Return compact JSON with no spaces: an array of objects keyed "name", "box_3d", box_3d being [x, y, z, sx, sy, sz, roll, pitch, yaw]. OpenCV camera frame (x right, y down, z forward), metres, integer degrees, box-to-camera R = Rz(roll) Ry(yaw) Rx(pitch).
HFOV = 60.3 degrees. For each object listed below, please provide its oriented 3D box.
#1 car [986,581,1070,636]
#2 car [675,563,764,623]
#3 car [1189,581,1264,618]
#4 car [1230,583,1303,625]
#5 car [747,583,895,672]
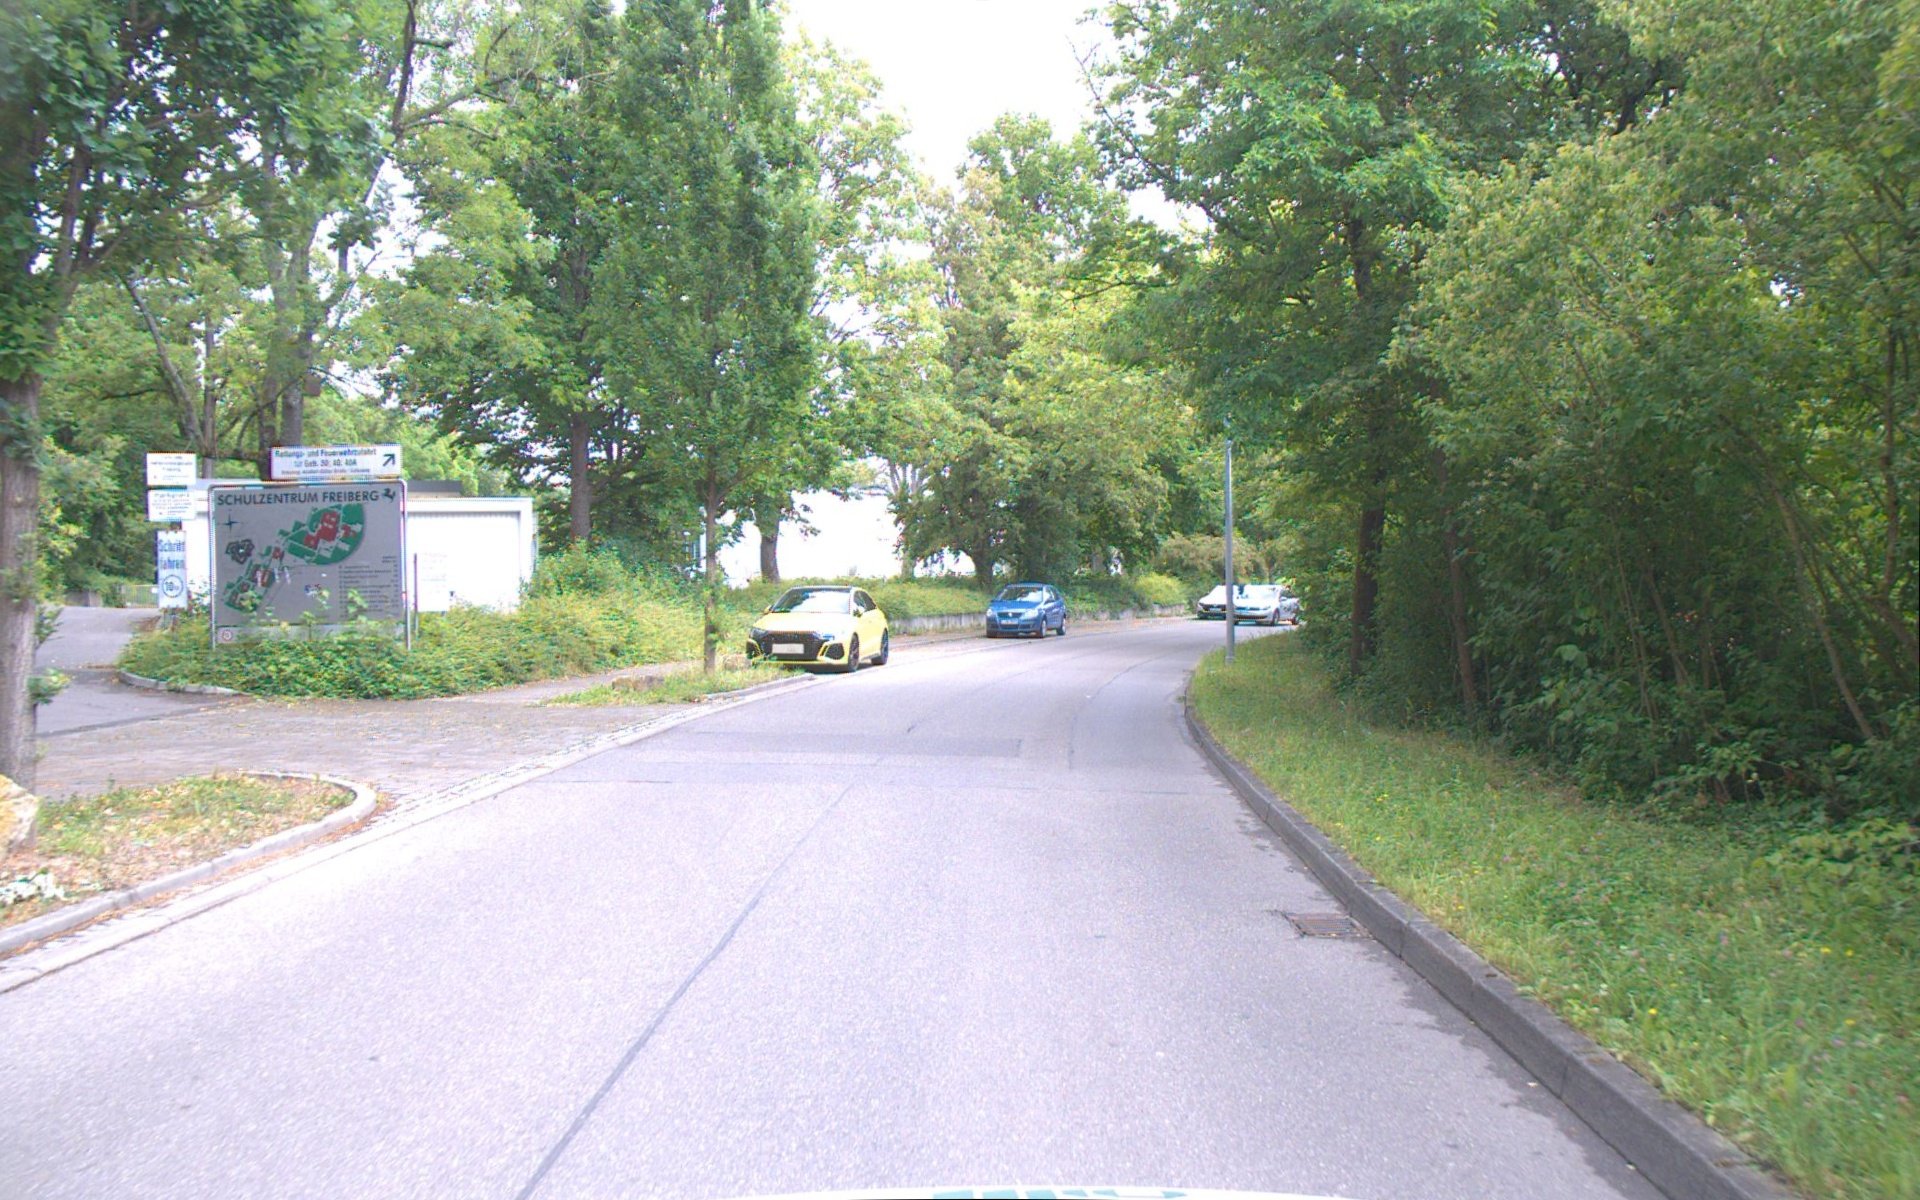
[{"name":"car","box_3d":[1.940,0.210,46.469,1.501,1.484,3.723,-1,1,16]},{"name":"car","box_3d":[-7.118,-0.201,48.744,1.716,1.650,3.848,-2,1,-22]},{"name":"car","box_3d":[10.884,-0.037,67.360,1.779,1.449,4.355,1,1,27]},{"name":"car","box_3d":[11.601,0.124,62.365,1.644,1.488,4.057,2,1,26]},{"name":"car","box_3d":[-2.333,0.439,28.924,1.664,1.427,4.277,0,0,8]}]
